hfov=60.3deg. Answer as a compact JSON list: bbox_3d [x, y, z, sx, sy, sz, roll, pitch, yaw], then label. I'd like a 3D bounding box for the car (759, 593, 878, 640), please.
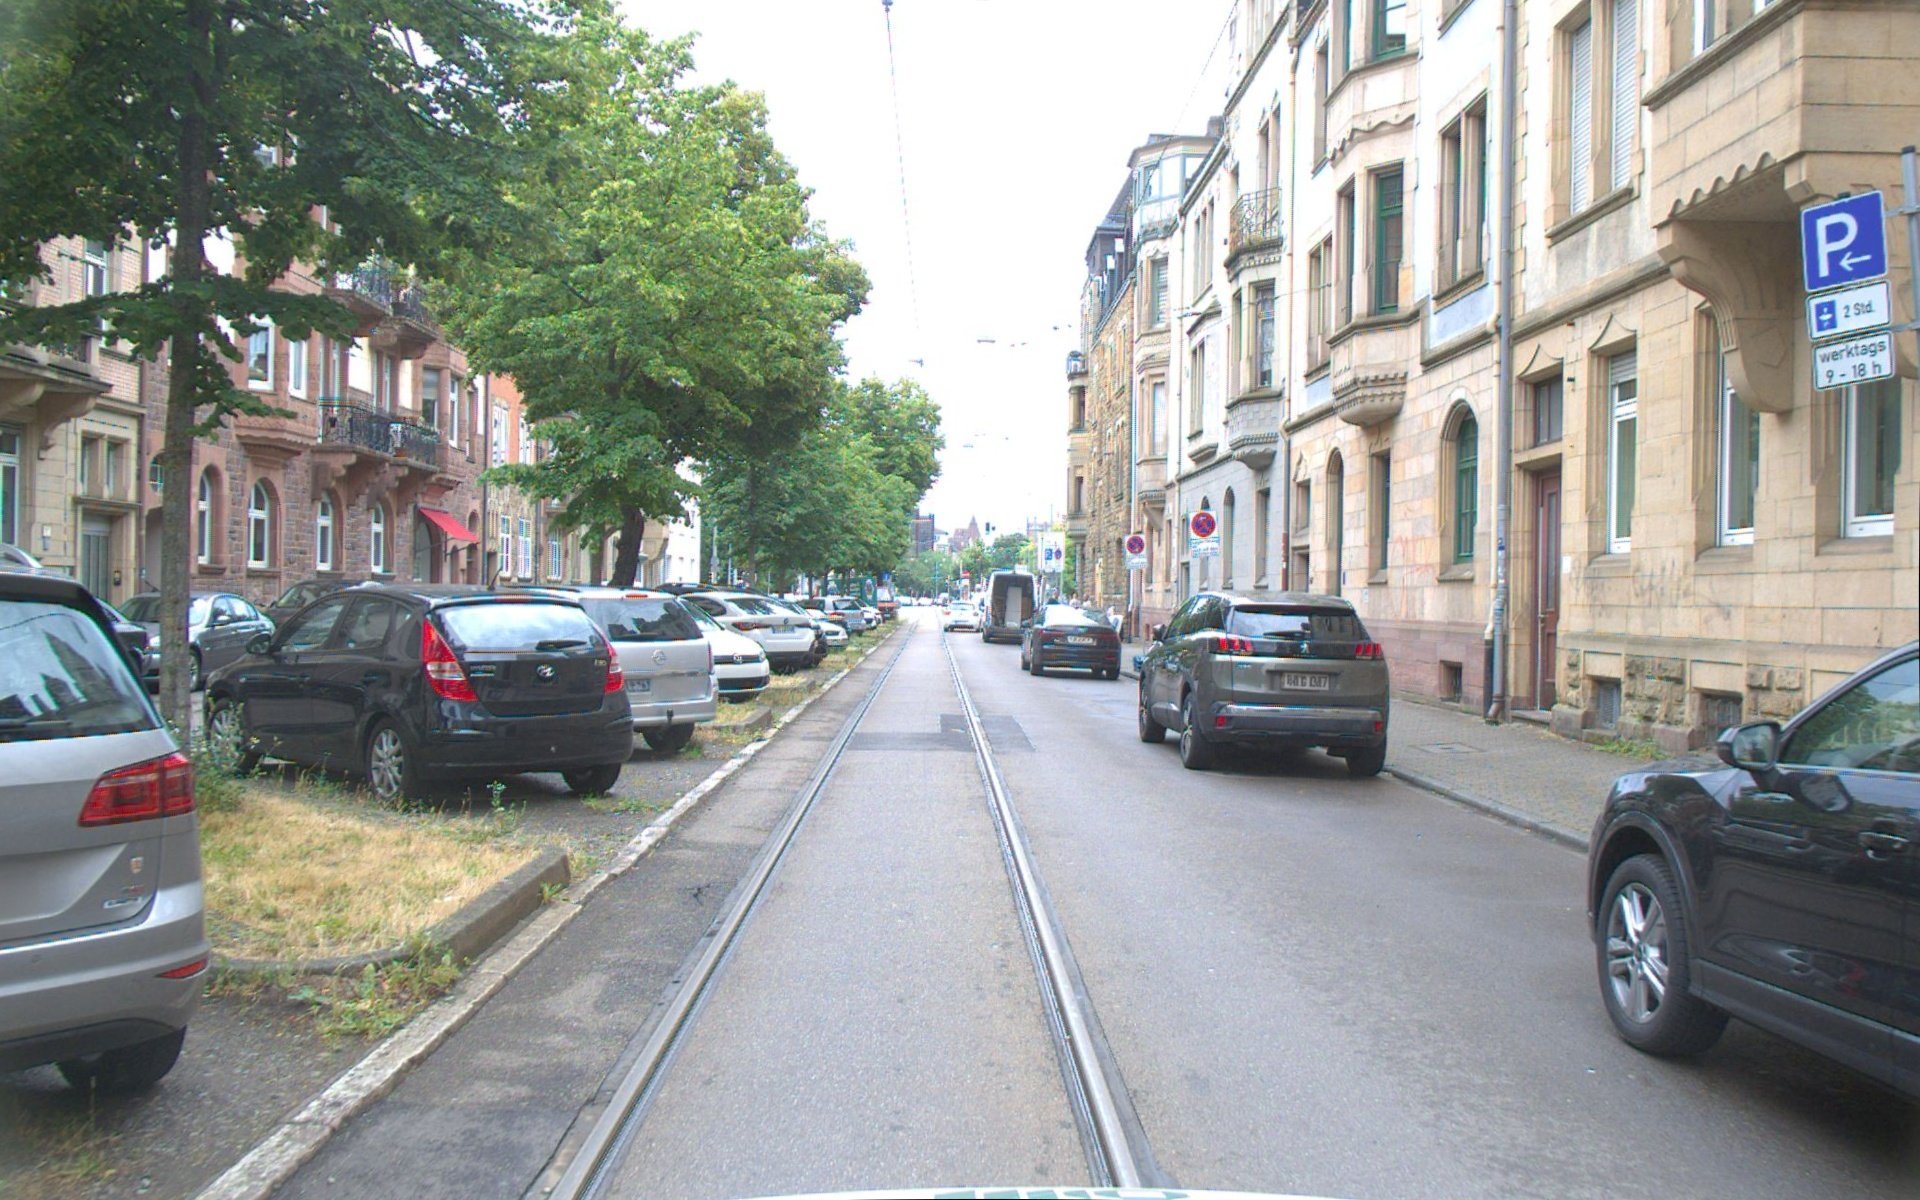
[{"bbox_3d":[-4.971,0.565,57.829,4.041,1.510,1.788,1,0,40],"label":"car"}]

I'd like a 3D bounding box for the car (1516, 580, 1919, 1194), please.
[{"bbox_3d":[3.253,0.769,4.609,1.664,1.539,4.417,4,0,-3],"label":"car"}]

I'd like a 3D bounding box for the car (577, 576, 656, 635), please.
[{"bbox_3d":[-12.178,0.198,58.861,1.843,1.986,5.092,1,0,-2],"label":"car"}]

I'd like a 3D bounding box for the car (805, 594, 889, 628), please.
[{"bbox_3d":[-5.197,0.496,75.863,3.794,1.488,1.680,1,0,41],"label":"car"}]

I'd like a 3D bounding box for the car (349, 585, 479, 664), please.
[{"bbox_3d":[-11.749,0.516,35.813,1.628,1.587,3.721,1,0,-2],"label":"car"}]

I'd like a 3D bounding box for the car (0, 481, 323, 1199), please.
[{"bbox_3d":[-3.733,0.561,4.848,4.129,1.637,1.716,0,-2,40],"label":"car"}]

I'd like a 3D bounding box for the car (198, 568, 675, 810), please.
[{"bbox_3d":[-4.021,0.539,12.372,3.933,1.511,1.764,1,0,44],"label":"car"}]

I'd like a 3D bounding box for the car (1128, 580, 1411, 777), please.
[{"bbox_3d":[2.880,0.660,16.457,1.724,1.650,4.692,1,0,-3],"label":"car"}]

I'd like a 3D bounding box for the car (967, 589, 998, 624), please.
[{"bbox_3d":[1.321,0.365,97.520,1.746,1.997,4.382,1,0,1],"label":"car"}]

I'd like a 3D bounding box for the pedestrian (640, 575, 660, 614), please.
[{"bbox_3d":[-14.586,-0.244,77.769,0.781,1.797,0.900,0,0,-2],"label":"pedestrian"}]

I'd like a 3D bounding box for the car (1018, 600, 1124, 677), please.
[{"bbox_3d":[2.303,0.762,35.538,1.764,1.463,5.194,1,0,-1],"label":"car"}]

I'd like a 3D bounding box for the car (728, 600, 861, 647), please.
[{"bbox_3d":[-4.785,0.652,47.477,3.894,1.223,1.657,1,0,43],"label":"car"}]

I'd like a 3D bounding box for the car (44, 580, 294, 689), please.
[{"bbox_3d":[-11.636,0.480,24.673,1.768,1.463,4.228,1,0,-2],"label":"car"}]

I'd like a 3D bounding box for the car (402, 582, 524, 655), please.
[{"bbox_3d":[-12.127,0.444,40.629,1.705,1.655,4.552,1,0,-2],"label":"car"}]

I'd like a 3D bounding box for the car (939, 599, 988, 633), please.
[{"bbox_3d":[0.193,0.734,77.045,1.744,1.498,4.013,1,0,8],"label":"car"}]

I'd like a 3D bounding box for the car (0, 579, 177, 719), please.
[{"bbox_3d":[-11.302,0.526,19.879,1.768,1.516,4.386,1,0,-2],"label":"car"}]

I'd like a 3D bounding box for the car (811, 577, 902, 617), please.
[{"bbox_3d":[-5.431,-0.166,86.574,4.675,2.009,1.951,1,0,38],"label":"car"}]

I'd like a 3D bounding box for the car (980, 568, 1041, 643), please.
[{"bbox_3d":[1.846,0.188,62.747,1.972,2.593,7.016,2,0,0],"label":"car"}]

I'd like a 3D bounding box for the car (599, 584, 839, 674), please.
[{"bbox_3d":[-4.453,0.495,30.193,4.463,1.516,2.023,1,-1,43],"label":"car"}]

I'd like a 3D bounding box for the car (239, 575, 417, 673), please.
[{"bbox_3d":[-11.671,0.430,30.857,1.733,1.657,4.319,1,0,-2],"label":"car"}]

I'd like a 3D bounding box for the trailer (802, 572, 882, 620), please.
[{"bbox_3d":[-5.957,-0.196,83.660,3.593,2.385,1.926,1,0,32],"label":"trailer"}]

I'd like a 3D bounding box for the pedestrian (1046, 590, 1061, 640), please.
[{"bbox_3d":[3.472,0.540,61.593,0.488,1.847,0.803,-1,0,0],"label":"pedestrian"}]

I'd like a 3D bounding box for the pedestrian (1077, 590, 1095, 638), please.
[{"bbox_3d":[4.702,0.522,61.720,0.499,1.747,0.579,-1,0,-11],"label":"pedestrian"}]

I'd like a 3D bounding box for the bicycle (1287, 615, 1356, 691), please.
[{"bbox_3d":[5.920,0.845,27.175,0.599,1.146,1.915,4,0,-2],"label":"bicycle"}]

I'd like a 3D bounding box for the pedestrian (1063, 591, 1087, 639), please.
[{"bbox_3d":[4.249,0.561,60.866,0.695,1.729,0.488,-1,0,-29],"label":"pedestrian"}]

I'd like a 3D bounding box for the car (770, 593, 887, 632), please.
[{"bbox_3d":[-5.235,0.485,65.497,4.599,1.460,1.890,1,0,39],"label":"car"}]

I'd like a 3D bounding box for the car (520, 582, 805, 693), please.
[{"bbox_3d":[-4.183,0.472,22.896,4.059,1.335,1.851,2,0,44],"label":"car"}]

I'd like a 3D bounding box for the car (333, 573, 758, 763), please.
[{"bbox_3d":[-4.036,0.542,15.633,1.850,1.519,4.489,2,0,-45],"label":"car"}]

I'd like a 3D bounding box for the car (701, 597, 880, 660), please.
[{"bbox_3d":[-4.182,0.674,40.335,4.585,1.392,1.747,1,0,42],"label":"car"}]

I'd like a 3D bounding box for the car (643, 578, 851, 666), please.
[{"bbox_3d":[-4.360,0.417,33.414,4.454,1.662,1.754,1,-1,43],"label":"car"}]
